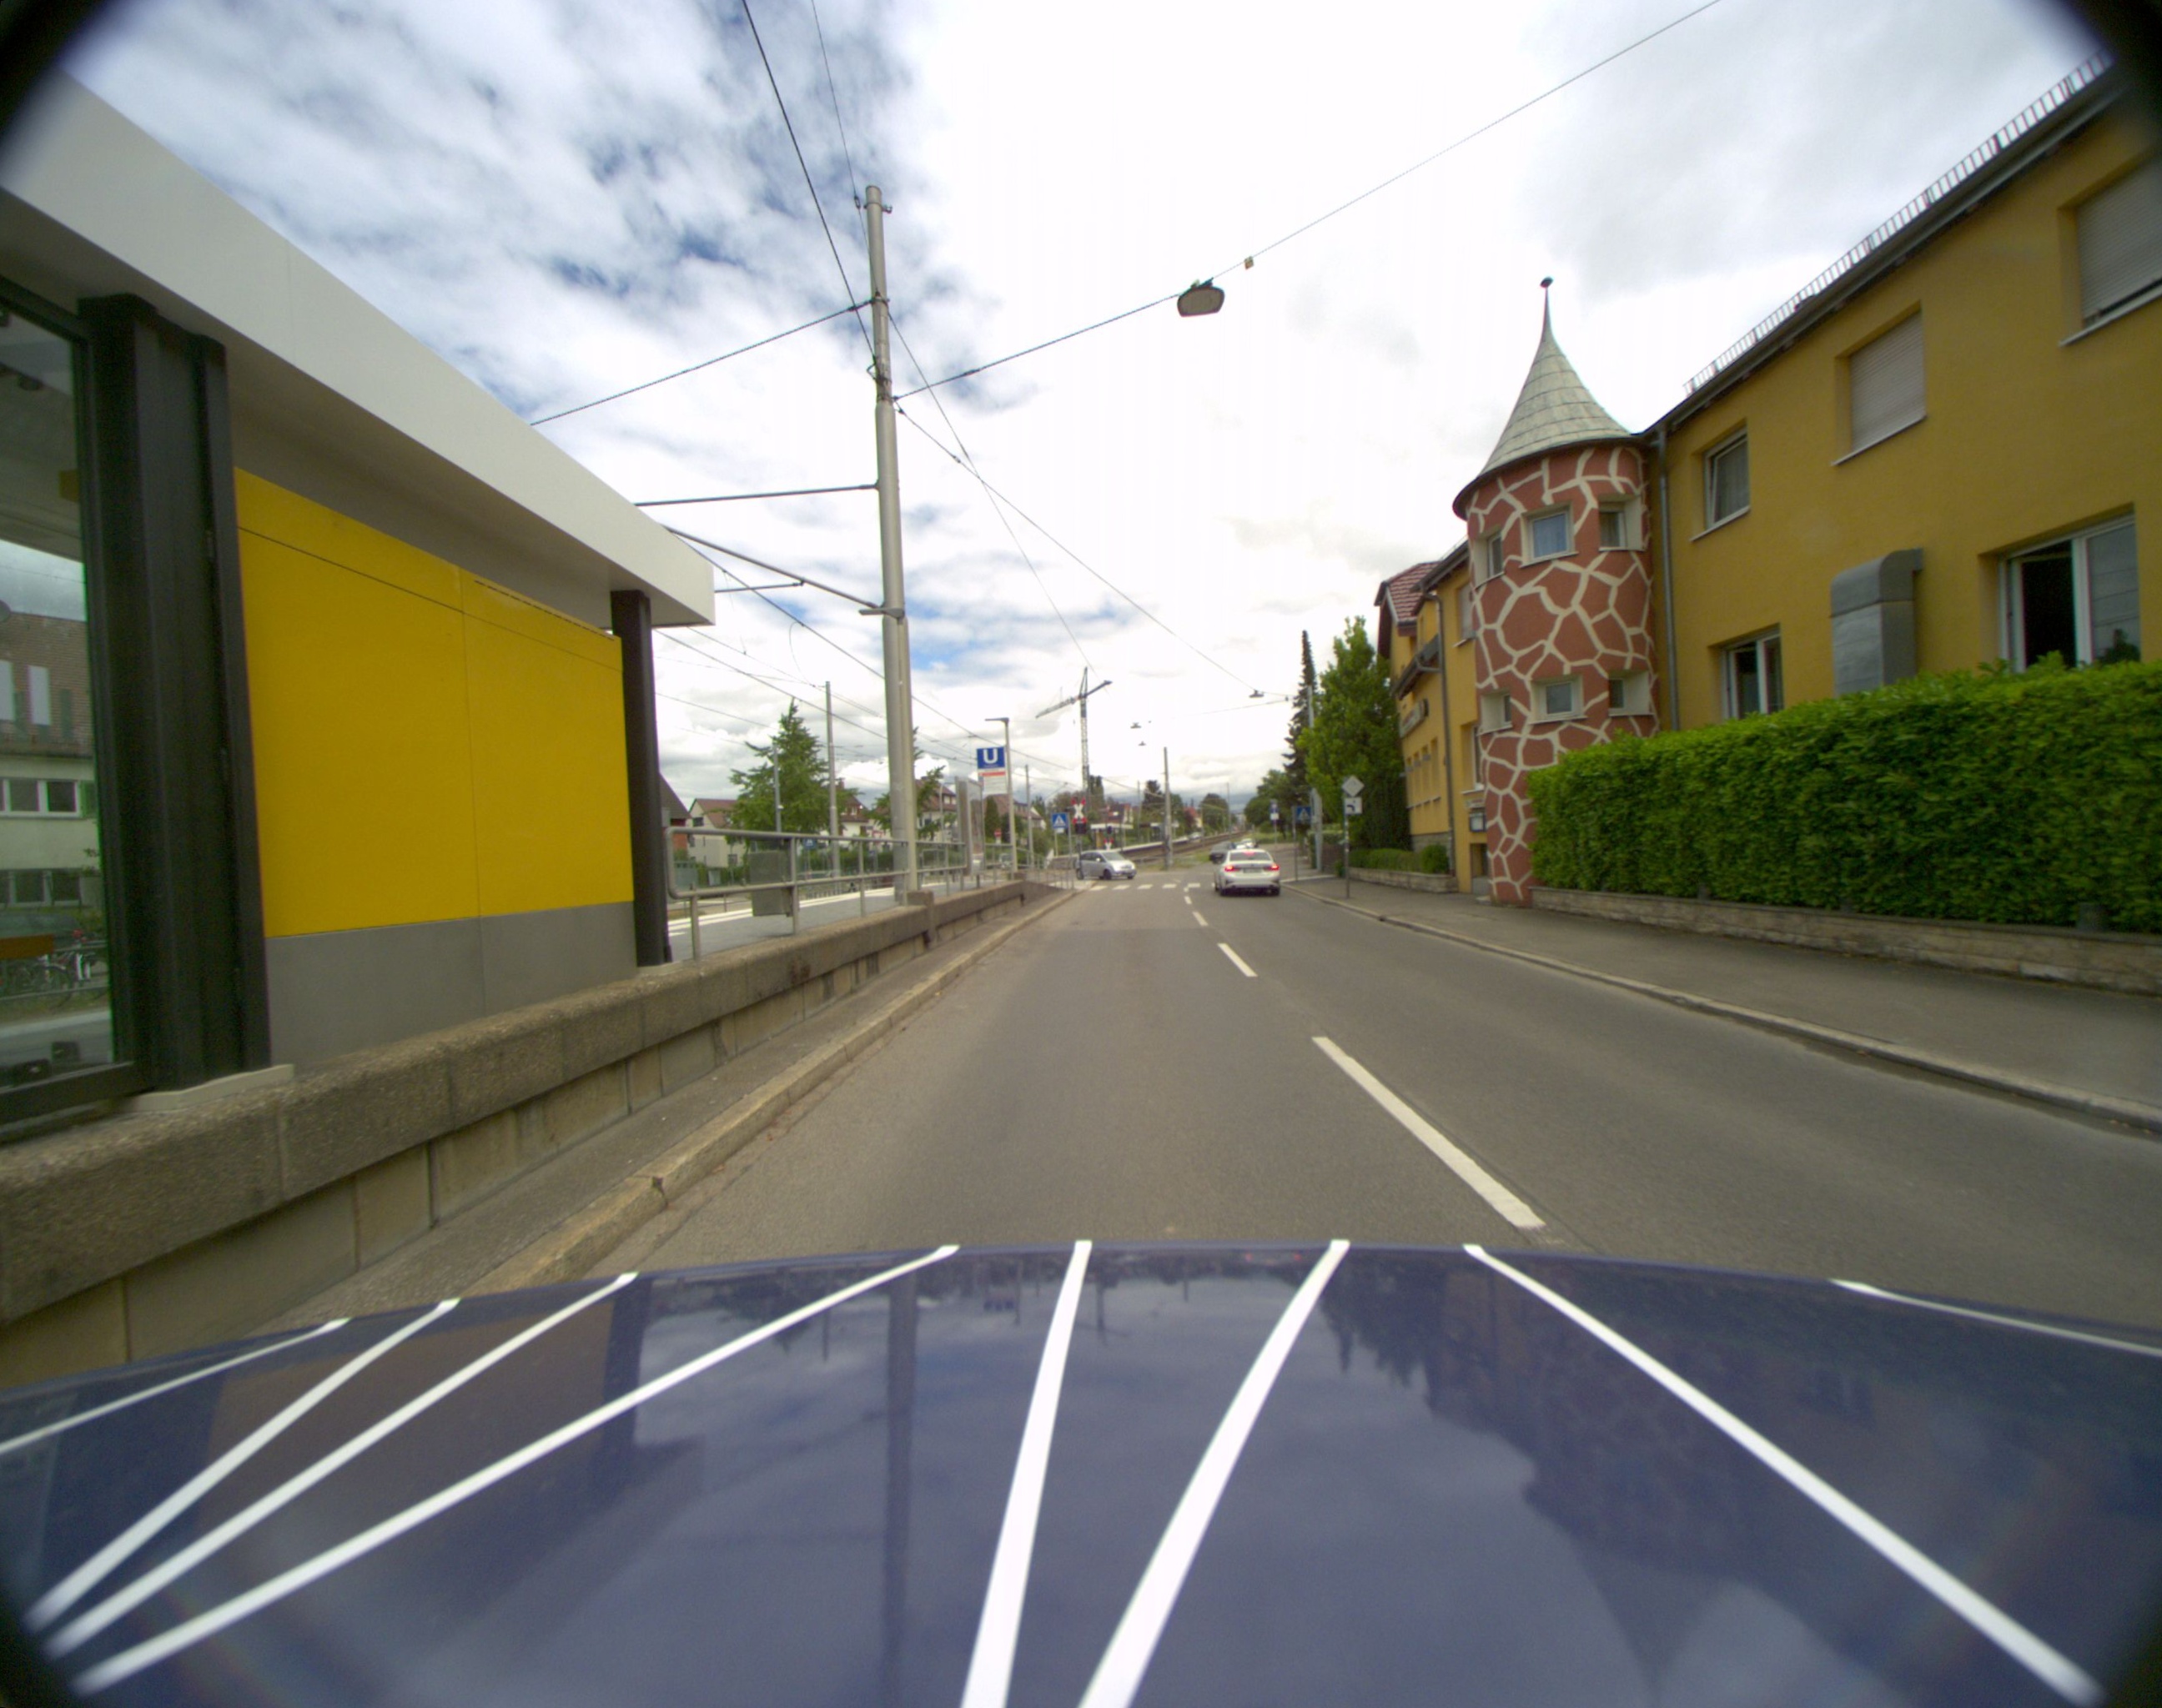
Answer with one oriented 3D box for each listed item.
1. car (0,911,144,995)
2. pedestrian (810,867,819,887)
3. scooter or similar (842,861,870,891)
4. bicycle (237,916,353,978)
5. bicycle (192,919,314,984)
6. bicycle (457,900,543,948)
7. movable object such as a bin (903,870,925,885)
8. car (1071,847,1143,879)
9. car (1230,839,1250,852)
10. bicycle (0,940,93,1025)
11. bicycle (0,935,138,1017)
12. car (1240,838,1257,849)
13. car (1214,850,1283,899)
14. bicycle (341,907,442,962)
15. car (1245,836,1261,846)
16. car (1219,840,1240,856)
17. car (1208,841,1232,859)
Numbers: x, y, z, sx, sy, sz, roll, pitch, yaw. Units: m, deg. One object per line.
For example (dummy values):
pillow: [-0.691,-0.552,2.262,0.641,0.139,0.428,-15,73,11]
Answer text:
car: [-22.391,2.100,15.028,1.818,1.477,4.426,-3,1,15]
pedestrian: [-22.734,1.978,64.874,0.599,1.611,0.676,-6,3,-20]
scooter or similar: [-10.204,1.015,34.503,1.049,1.308,0.490,-3,0,11]
bicycle: [-14.866,1.763,14.380,1.768,1.036,0.557,-3,1,9]
bicycle: [-14.984,1.764,13.761,1.768,1.036,0.557,-3,1,9]
bicycle: [-14.266,1.715,18.661,1.768,1.036,0.557,-3,1,9]
movable object such as a bin: [-9.776,1.370,44.583,0.578,0.820,1.096,-3,1,35]
car: [1.382,0.528,41.589,1.730,1.559,3.917,-4,1,-38]
car: [18.498,-0.974,88.461,1.851,1.368,4.004,-4,1,17]
bicycle: [-14.795,1.776,10.373,1.769,1.036,0.557,-3,1,-1]
bicycle: [-15.120,1.793,11.150,1.769,1.036,0.557,-3,1,0]
car: [21.900,-1.381,99.097,1.851,1.368,4.004,-4,1,17]
car: [5.339,0.595,24.745,1.822,1.411,4.465,0,1,8]
bicycle: [-14.651,1.712,16.159,1.768,1.036,0.557,-3,1,9]
car: [24.936,-1.884,110.256,1.851,1.368,4.004,-4,1,17]
car: [15.430,-0.623,78.708,1.819,1.493,4.123,-4,1,15]
car: [13.291,-0.375,72.407,1.819,1.493,4.123,-4,1,15]
